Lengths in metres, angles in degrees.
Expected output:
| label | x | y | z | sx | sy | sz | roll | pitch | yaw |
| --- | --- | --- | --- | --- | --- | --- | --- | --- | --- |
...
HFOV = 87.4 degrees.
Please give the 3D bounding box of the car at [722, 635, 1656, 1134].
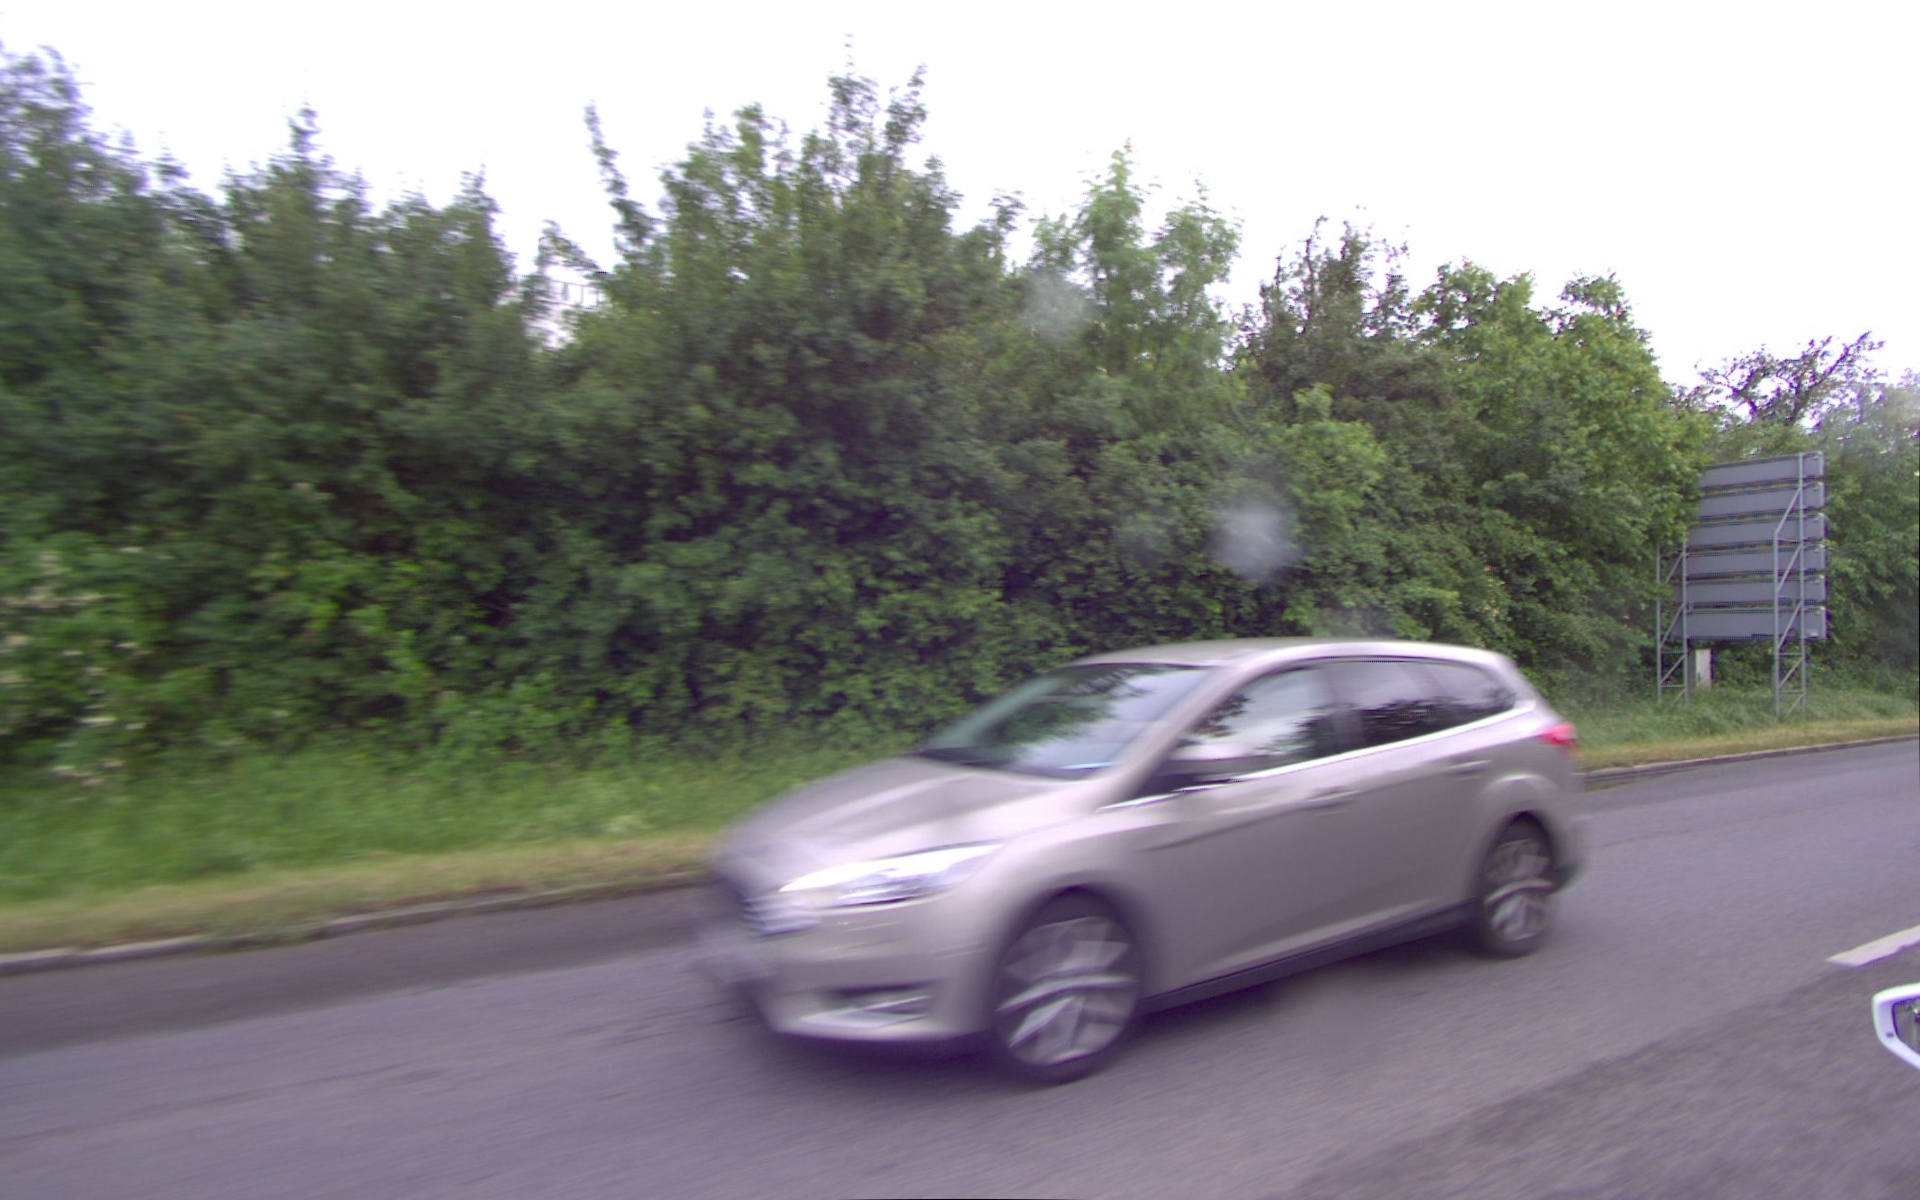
| label | x | y | z | sx | sy | sz | roll | pitch | yaw |
| --- | --- | --- | --- | --- | --- | --- | --- | --- | --- |
| car | 1.221 | 0.893 | 4.794 | 4.269 | 1.438 | 1.817 | 1 | -3 | -30 |
